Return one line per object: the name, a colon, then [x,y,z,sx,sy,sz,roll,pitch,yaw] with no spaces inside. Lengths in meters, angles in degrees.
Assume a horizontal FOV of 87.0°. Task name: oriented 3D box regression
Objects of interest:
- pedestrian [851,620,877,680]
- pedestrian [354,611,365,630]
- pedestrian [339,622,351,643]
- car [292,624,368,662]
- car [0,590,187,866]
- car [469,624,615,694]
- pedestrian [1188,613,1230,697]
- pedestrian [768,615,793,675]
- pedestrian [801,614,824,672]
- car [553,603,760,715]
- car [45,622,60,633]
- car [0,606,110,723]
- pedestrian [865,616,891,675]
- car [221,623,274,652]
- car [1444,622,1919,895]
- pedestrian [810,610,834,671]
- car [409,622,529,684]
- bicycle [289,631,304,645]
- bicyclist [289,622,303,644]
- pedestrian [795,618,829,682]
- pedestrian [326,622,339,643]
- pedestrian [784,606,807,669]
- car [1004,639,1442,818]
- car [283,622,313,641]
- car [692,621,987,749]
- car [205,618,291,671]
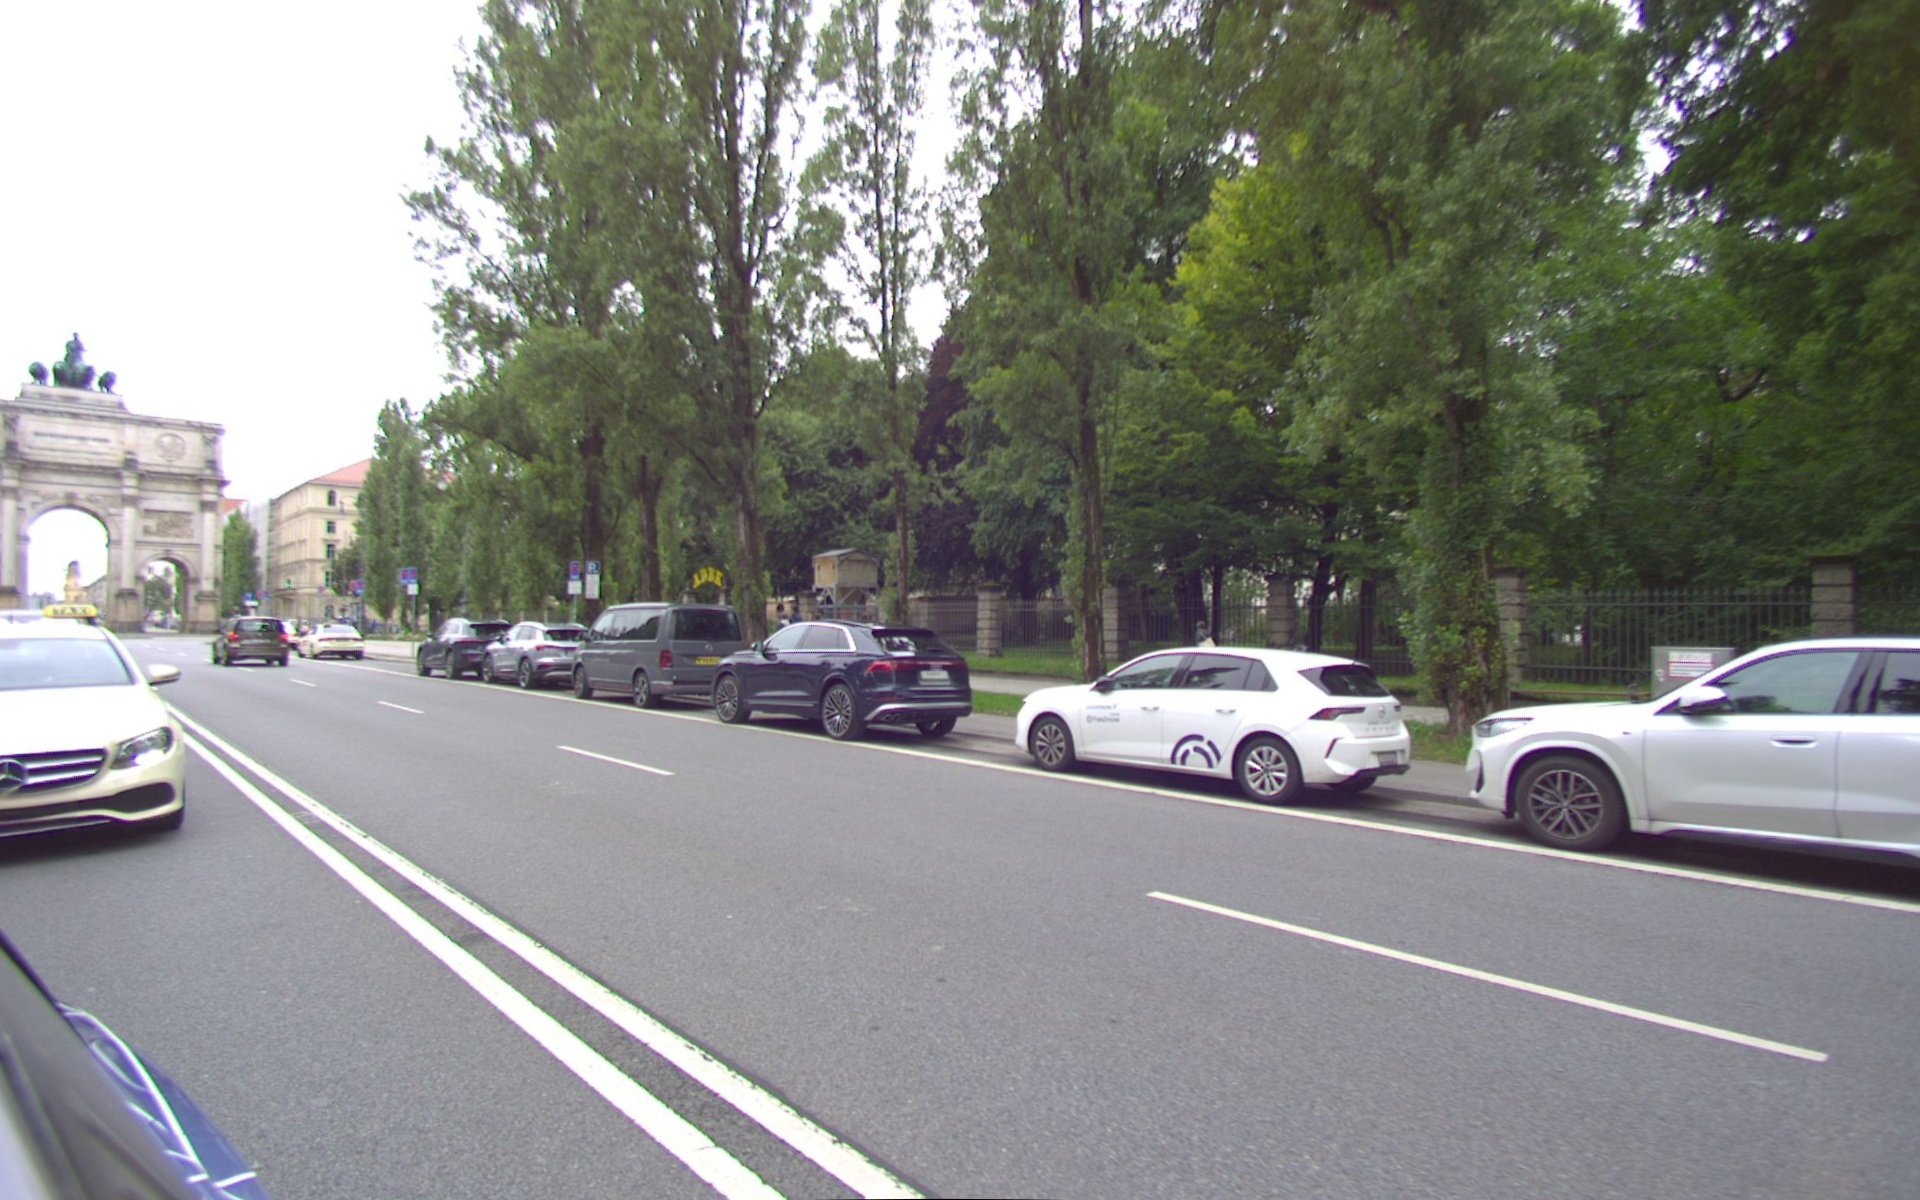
pedestrian: [-2.770,1.422,29.095,0.543,1.714,0.532,1,-1,-43]
pedestrian: [-66.675,2.272,112.386,0.748,2.029,0.791,0,-2,12]
pedestrian: [-50.663,2.660,83.360,0.833,1.691,0.969,1,-2,-33]
car: [-26.617,1.800,42.677,1.907,1.509,4.796,2,-3,-42]
car: [-7.157,0.767,7.552,1.891,1.587,4.696,-1,0,-41]
car: [-10.552,1.423,25.369,1.868,1.596,4.659,3,-3,-43]
pedestrian: [5.304,1.149,21.572,0.543,1.761,0.673,1,-1,-43]
pedestrian: [-5.356,1.320,30.167,0.543,1.761,0.532,1,-1,-43]
pedestrian: [-4.713,1.359,32.340,0.428,1.849,0.612,1,-2,-43]
car: [-6.228,1.145,20.386,1.969,1.971,4.942,4,-4,-43]
car: [-170.442,5.108,190.067,1.970,2.029,4.399,2,-2,-43]
car: [-14.873,0.938,16.050,1.925,1.636,4.416,-1,0,-43]
pedestrian: [-2.388,1.314,29.500,0.543,1.682,0.532,1,-1,-43]
car: [-41.147,2.147,58.419,1.796,1.571,4.864,4,-3,-43]
car: [5.978,0.993,6.948,1.763,1.600,4.467,4,-4,-42]
pedestrian: [-4.503,1.312,33.033,0.543,1.974,0.532,1,-1,-43]
car: [-13.977,1.466,28.673,1.760,1.608,4.618,4,-4,-43]
bicycle: [-47.229,2.723,71.994,0.698,0.946,1.738,1,-2,-40]
bicyclist: [-47.287,2.340,72.057,0.685,1.510,0.863,2,-3,-39]
pedestrian: [-4.051,1.358,27.679,0.575,1.733,0.787,1,-2,-44]
pedestrian: [-51.502,2.660,83.067,0.833,1.691,0.969,1,-2,-33]
pedestrian: [-5.225,1.176,32.123,0.543,1.974,0.532,1,-1,-43]
car: [2.559,1.178,10.653,1.656,1.433,4.242,4,-3,-43]
car: [-71.799,3.381,109.737,1.974,1.869,4.998,3,-2,-41]
car: [-2.012,1.181,15.408,1.793,1.621,5.058,5,-4,-43]
car: [-24.087,1.486,34.185,1.763,1.669,4.117,4,-3,-43]
